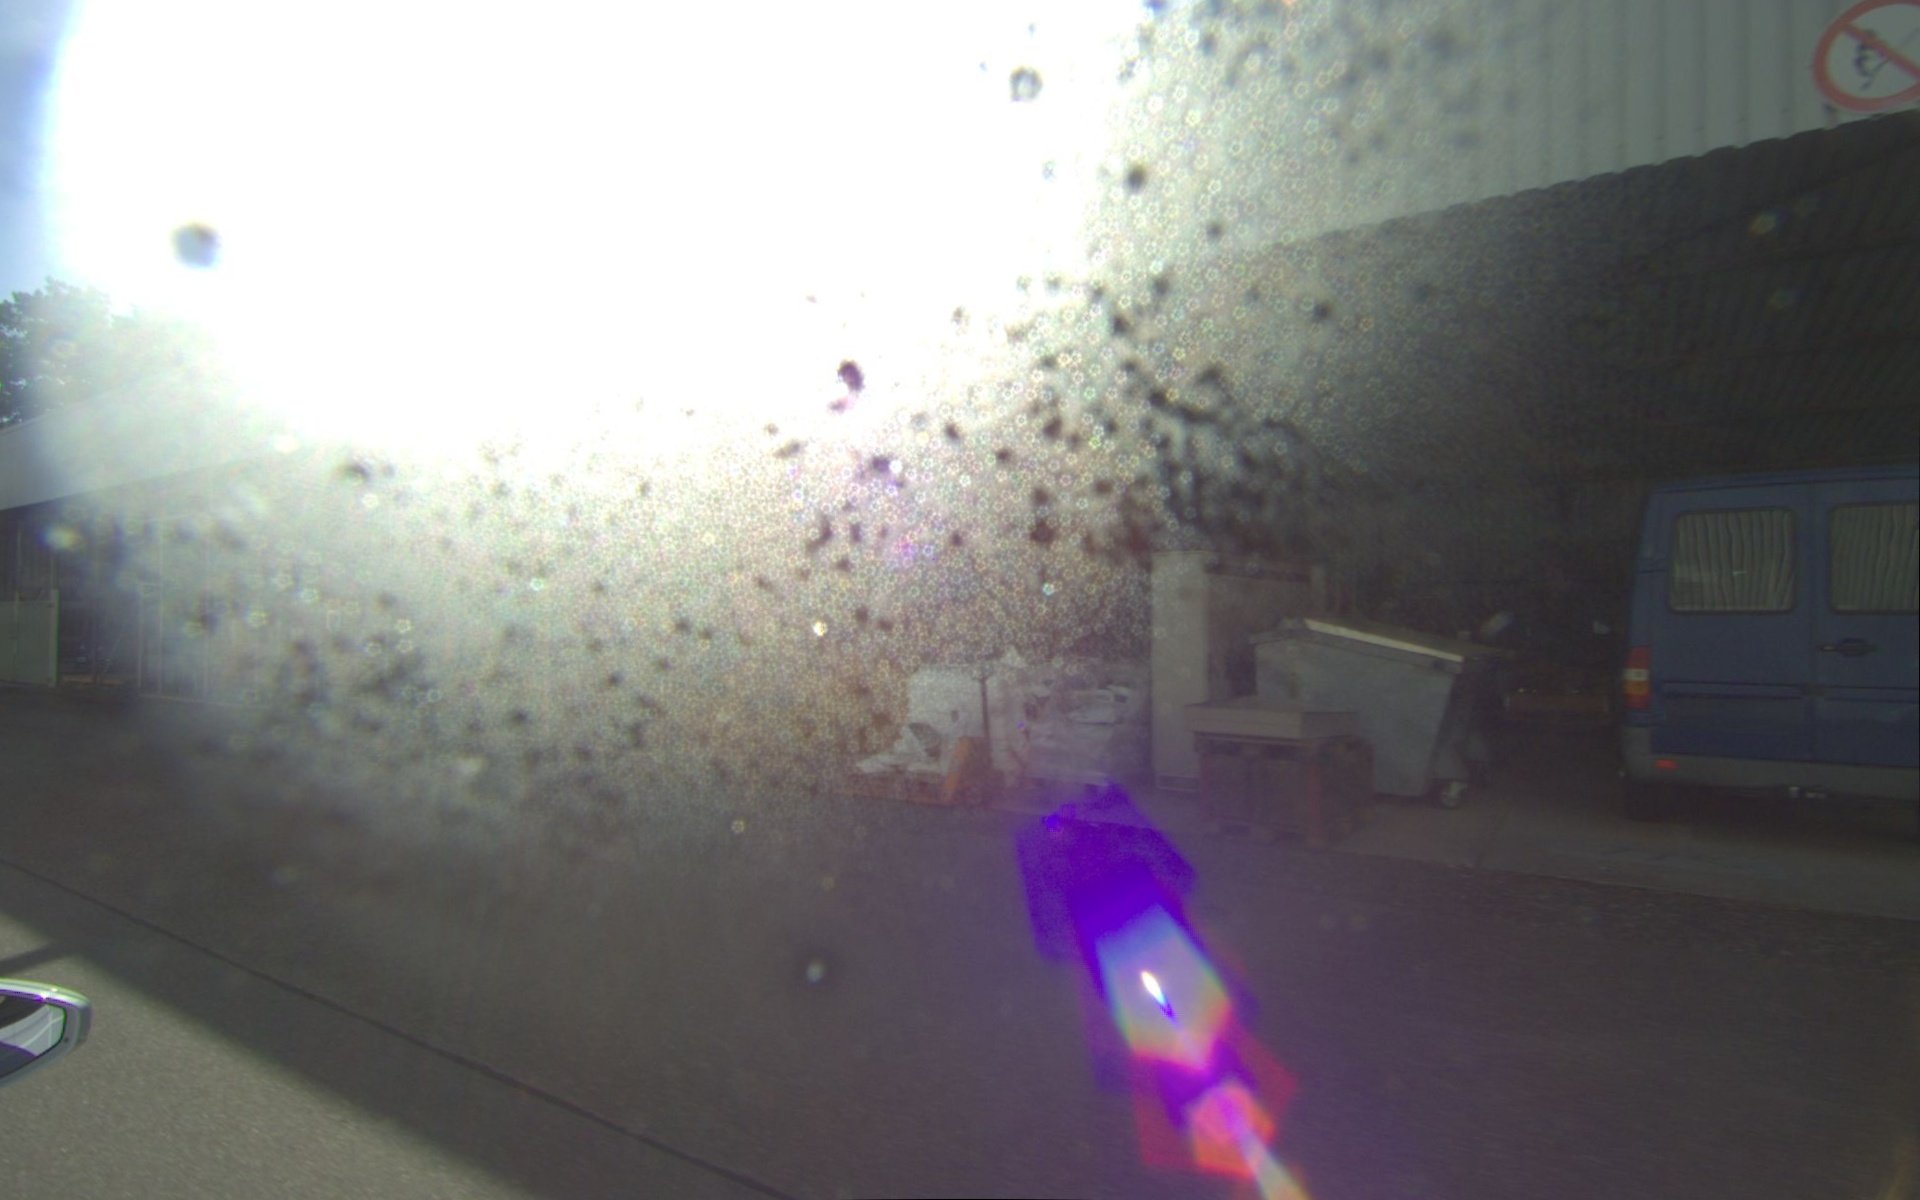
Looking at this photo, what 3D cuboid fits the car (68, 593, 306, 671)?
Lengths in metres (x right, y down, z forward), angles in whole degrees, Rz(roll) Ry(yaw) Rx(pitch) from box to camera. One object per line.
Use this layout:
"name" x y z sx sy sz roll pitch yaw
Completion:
"car" -20.867 0.886 27.293 1.968 1.940 4.770 -1 -2 25

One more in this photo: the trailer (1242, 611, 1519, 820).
"trailer" 3.596 0.845 8.464 1.716 1.485 2.031 0 -1 38

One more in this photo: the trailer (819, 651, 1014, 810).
"trailer" -0.366 0.996 8.017 1.525 1.133 0.551 -1 -1 32

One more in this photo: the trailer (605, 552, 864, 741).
"trailer" -2.921 0.557 13.009 2.764 2.171 1.916 0 0 32

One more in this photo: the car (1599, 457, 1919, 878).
"car" 6.352 0.450 7.964 2.122 2.310 5.322 -1 -2 33
